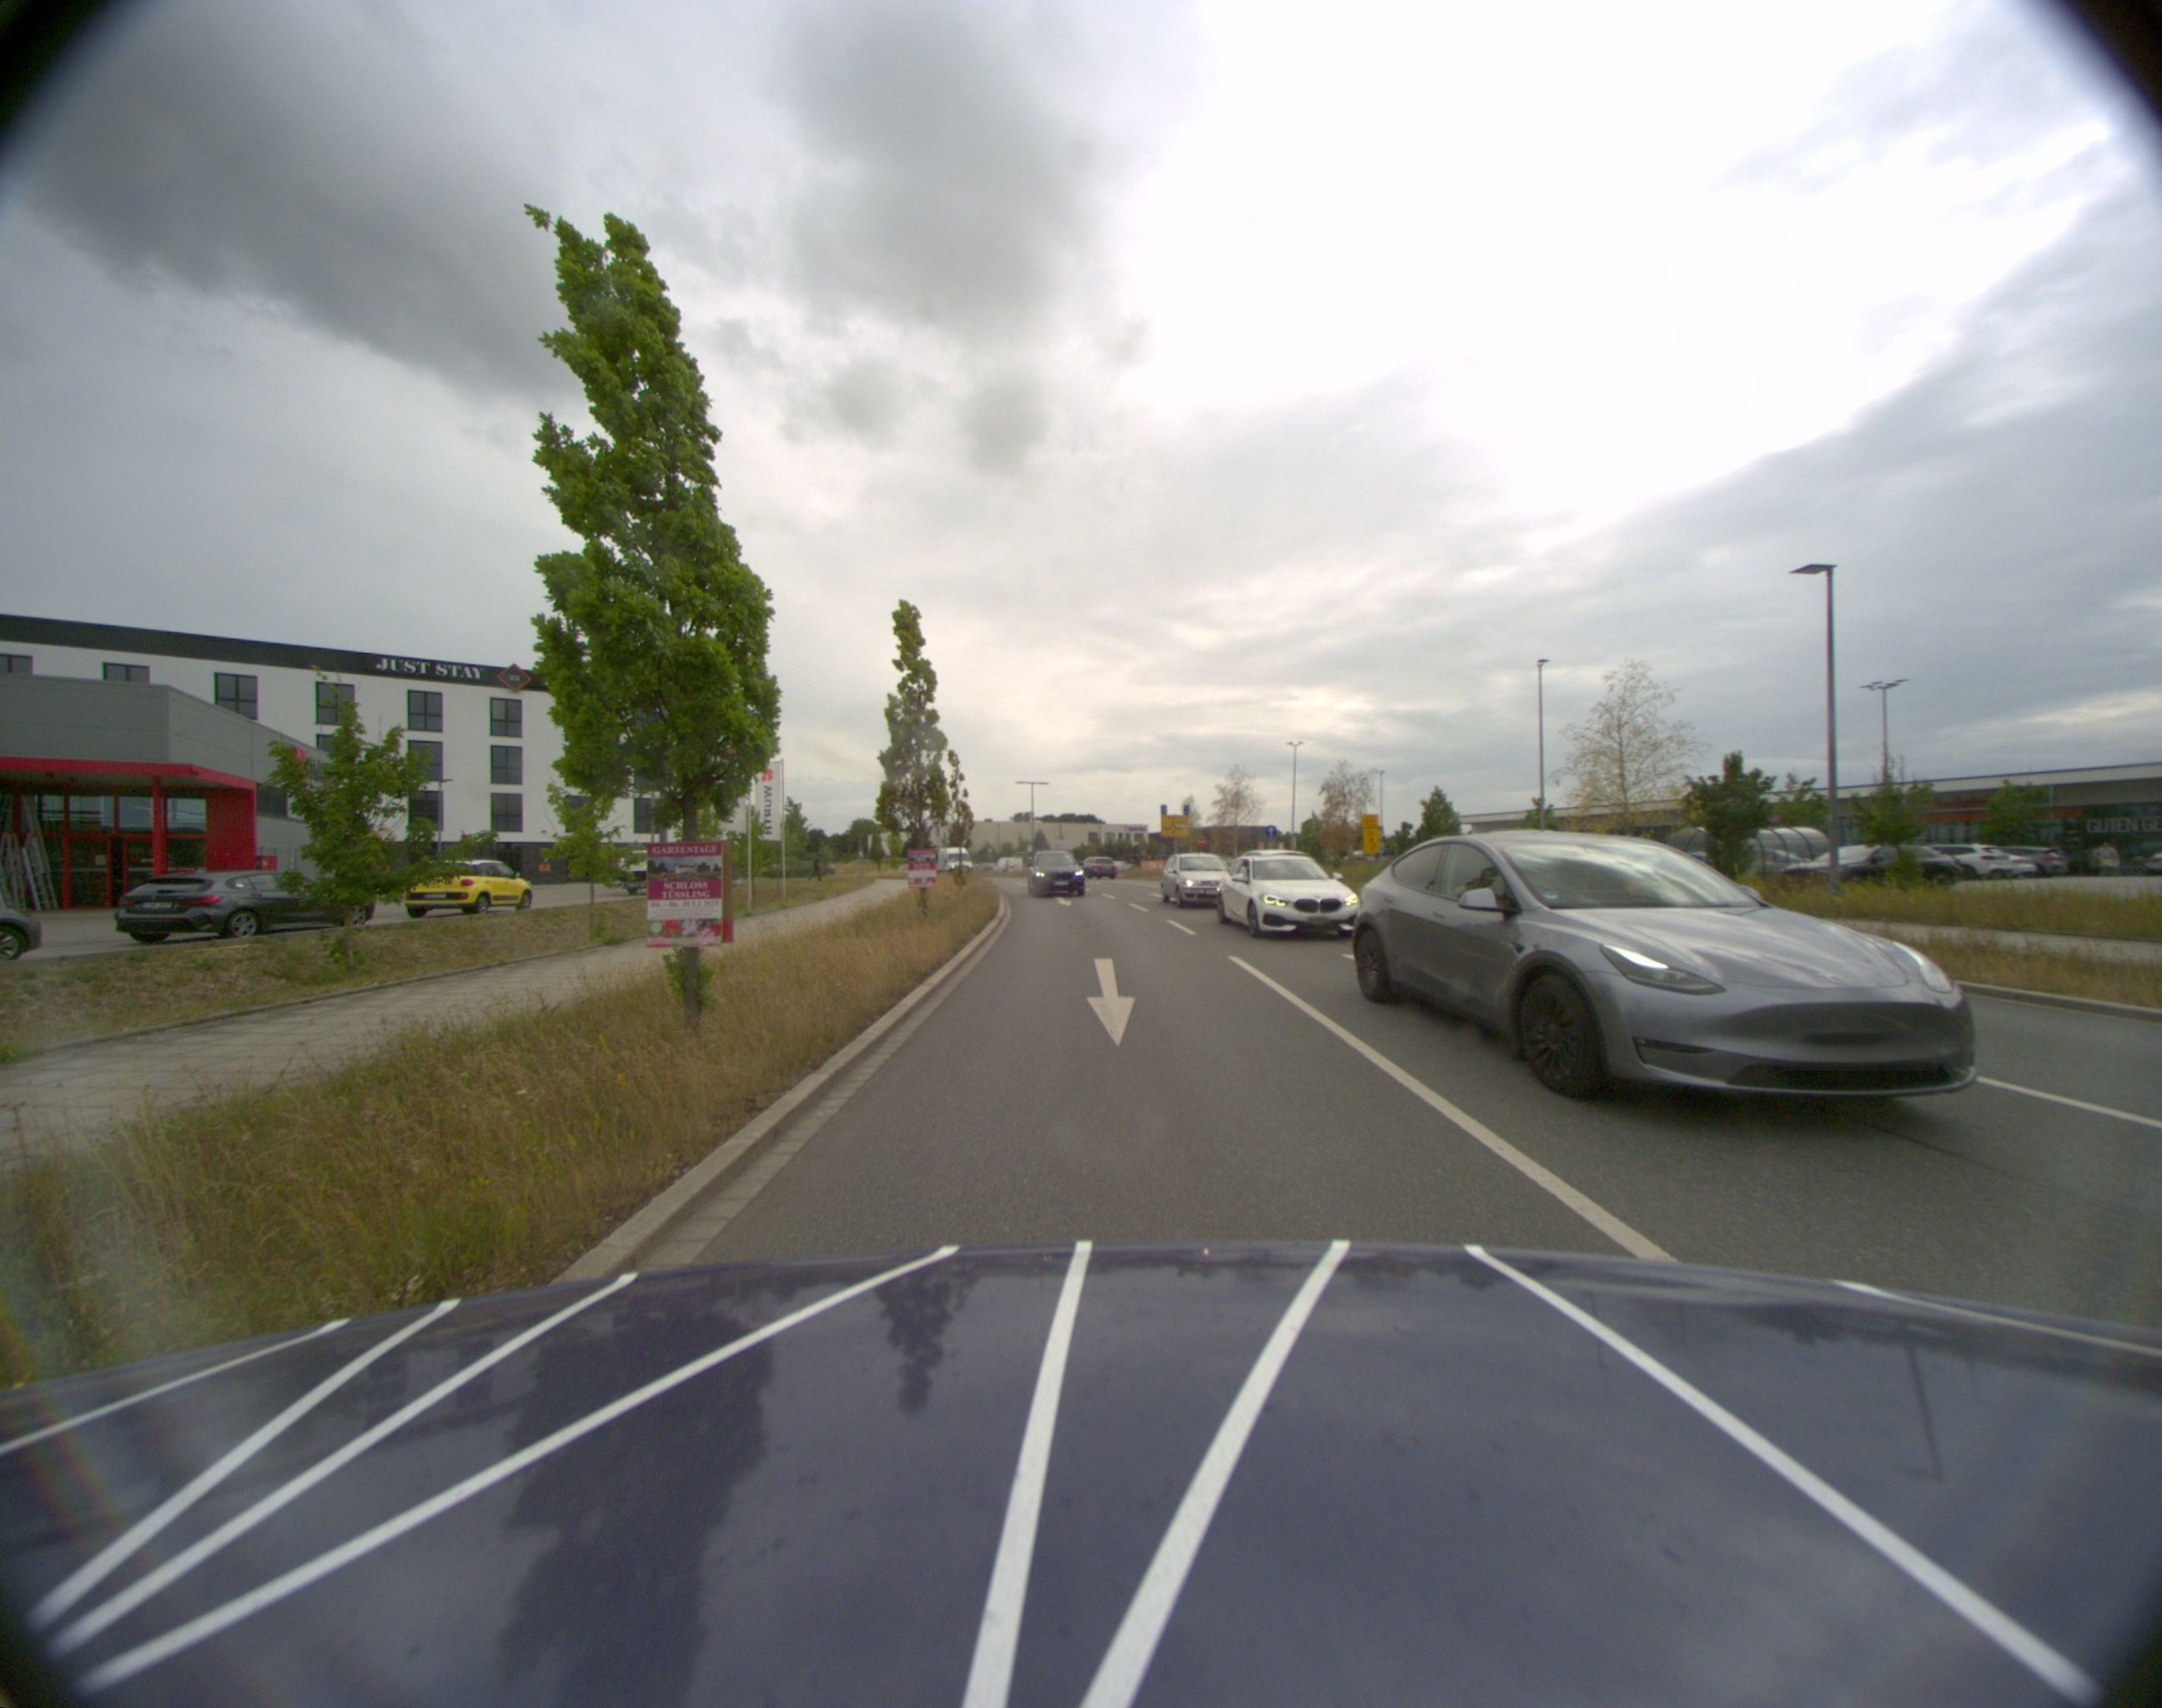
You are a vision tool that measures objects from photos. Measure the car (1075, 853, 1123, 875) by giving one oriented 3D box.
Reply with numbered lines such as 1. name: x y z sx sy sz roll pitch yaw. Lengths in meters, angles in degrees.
1. car: 1.179 0.661 51.803 1.792 1.481 4.759 0 0 -18

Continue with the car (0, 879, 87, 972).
1. car: -17.690 1.130 10.439 1.869 1.428 4.878 -1 0 -4

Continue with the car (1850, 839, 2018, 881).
1. car: 40.532 0.271 36.302 2.161 1.888 4.918 -1 0 -18

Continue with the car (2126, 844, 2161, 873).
1. car: 55.928 0.215 39.038 4.058 1.473 2.000 0 0 -27

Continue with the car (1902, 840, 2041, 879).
1. car: 42.999 0.242 36.833 1.781 1.762 3.993 -1 1 -19

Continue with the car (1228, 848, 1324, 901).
1. car: 6.575 0.639 26.189 1.999 1.627 4.702 1 0 -1

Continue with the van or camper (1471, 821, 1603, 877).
1. van or camper: 23.681 -0.284 39.533 5.872 2.784 2.241 0 1 -10

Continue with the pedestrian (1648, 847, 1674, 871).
1. pedestrian: 39.905 0.339 52.286 0.892 1.597 1.254 -1 0 -40

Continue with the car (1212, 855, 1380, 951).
1. car: 3.805 0.790 14.269 1.885 1.460 4.192 -1 1 -1

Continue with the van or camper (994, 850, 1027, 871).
1. van or camper: -6.987 0.637 75.094 1.955 1.996 5.119 0 0 -20

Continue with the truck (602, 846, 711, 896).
1. truck: -21.843 0.791 39.617 2.234 2.312 8.208 -1 0 -9

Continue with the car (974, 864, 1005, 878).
1. car: -9.925 1.824 82.085 2.174 1.474 4.895 -1 0 -21

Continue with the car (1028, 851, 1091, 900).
1. car: -0.871 0.738 28.445 1.999 1.654 3.998 -2 0 -6

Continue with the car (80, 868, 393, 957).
1. car: -18.084 1.151 16.723 2.000 1.488 4.604 -1 1 -6

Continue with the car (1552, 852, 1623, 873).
1. car: 36.094 0.590 54.250 1.892 1.433 3.896 -1 0 -21

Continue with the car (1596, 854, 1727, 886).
1. car: 25.089 0.670 32.923 4.337 1.297 2.010 -1 0 -7

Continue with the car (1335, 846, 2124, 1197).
1. car: 3.693 0.760 5.724 1.999 1.552 4.612 -1 0 0

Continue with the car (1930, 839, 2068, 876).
1. car: 45.673 0.164 37.910 1.888 1.761 3.993 -1 0 -22

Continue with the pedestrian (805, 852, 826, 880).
1. pedestrian: -17.656 0.793 50.531 1.195 1.847 1.073 0 2 -13

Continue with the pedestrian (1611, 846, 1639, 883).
1. pedestrian: 28.351 0.549 39.594 1.111 1.879 1.013 0 0 41

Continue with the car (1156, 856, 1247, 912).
1. car: 3.328 0.780 21.696 1.707 1.429 4.031 -1 0 -4

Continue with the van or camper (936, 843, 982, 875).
1. van or camper: -10.252 0.417 63.621 2.269 2.601 5.685 -1 0 -26

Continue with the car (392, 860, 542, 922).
1. car: -18.483 1.042 23.163 1.769 1.676 4.406 -1 0 -13
